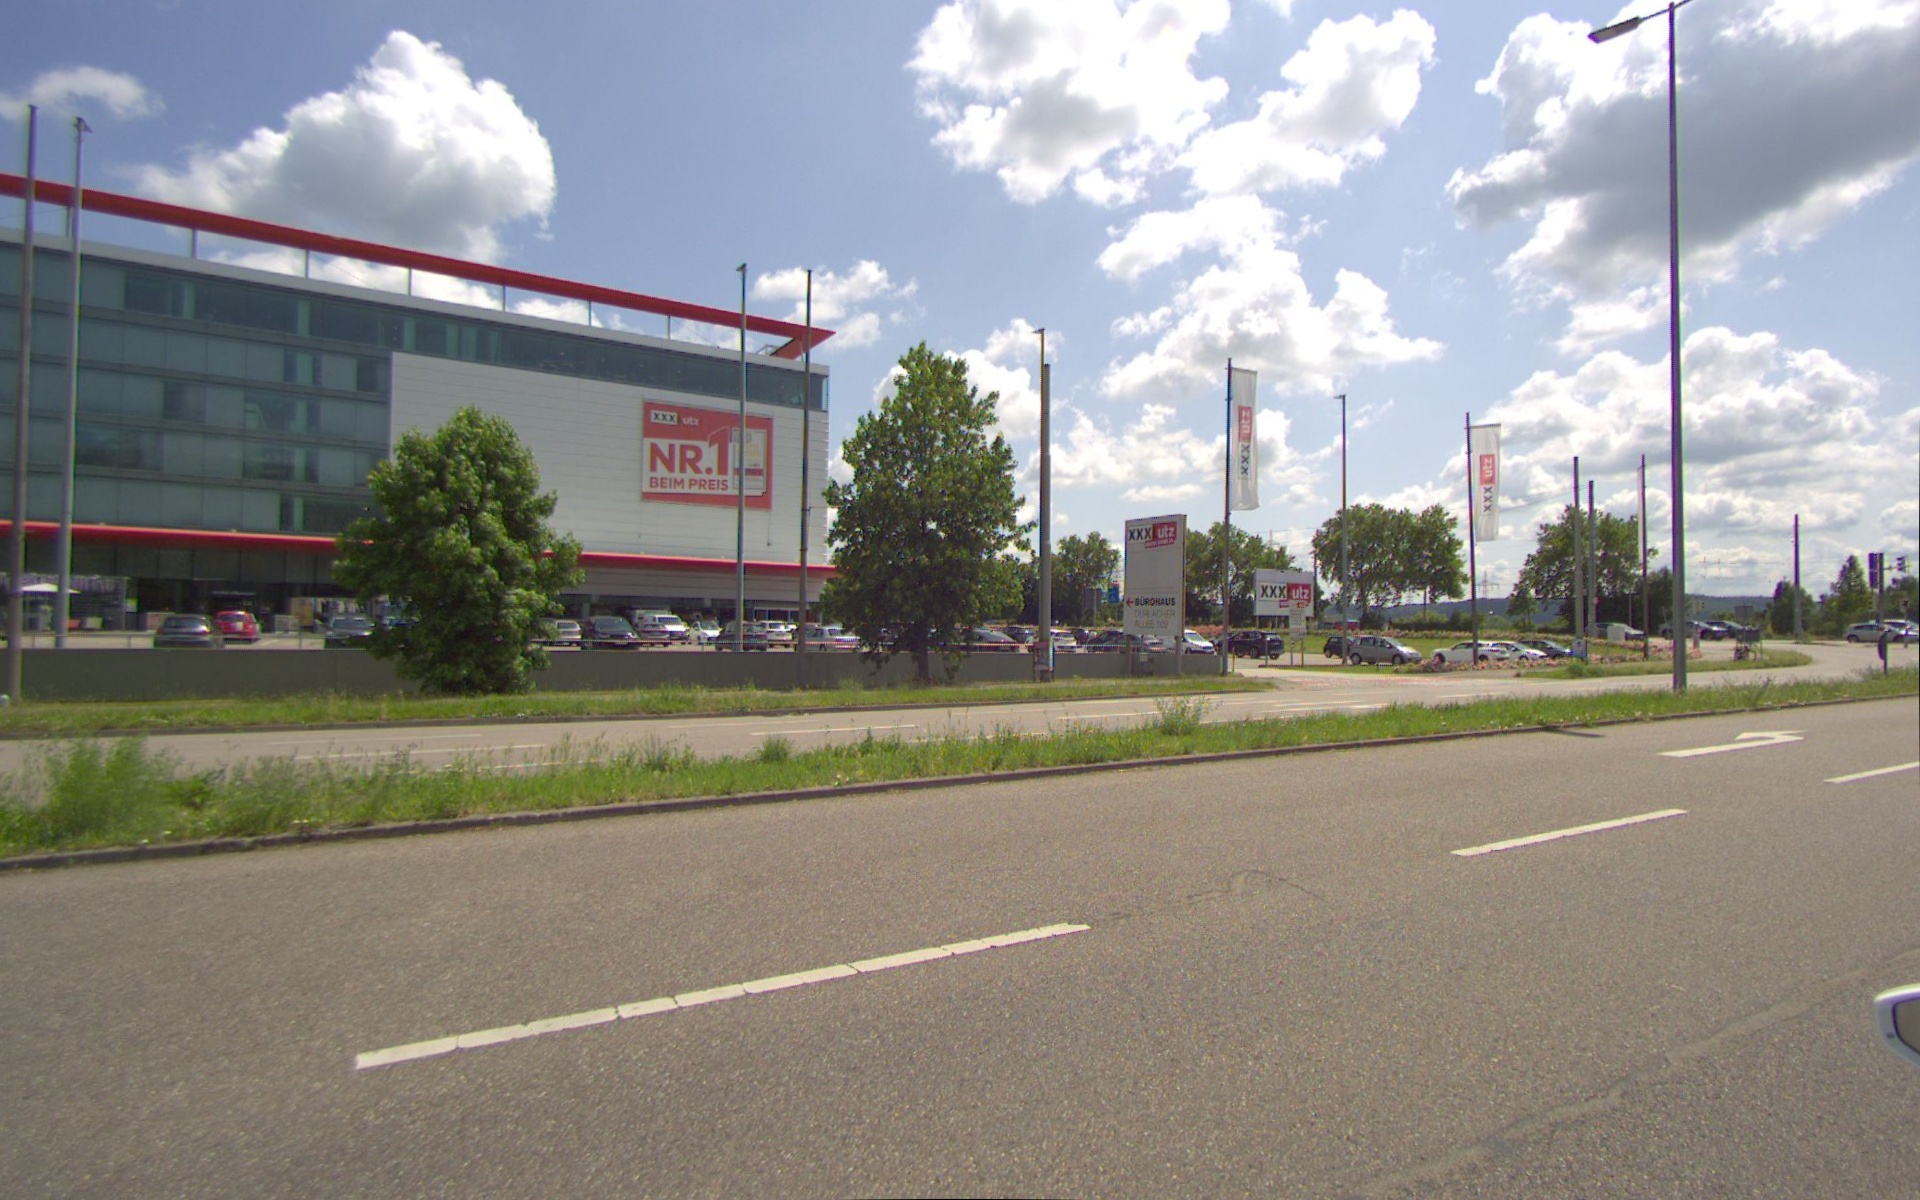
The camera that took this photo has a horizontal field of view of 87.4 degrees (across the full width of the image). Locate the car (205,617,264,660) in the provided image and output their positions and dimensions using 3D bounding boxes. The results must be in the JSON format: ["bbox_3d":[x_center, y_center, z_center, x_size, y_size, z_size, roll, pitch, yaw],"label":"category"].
[{"bbox_3d":[-35.678,1.897,49.475,1.978,2.015,4.326,1,-3,-32],"label":"car"}]

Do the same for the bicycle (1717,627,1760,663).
[{"bbox_3d":[38.292,2.208,49.395,2.025,1.697,1.012,1,-2,-32],"label":"bicycle"}]

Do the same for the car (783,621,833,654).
[{"bbox_3d":[-9.799,2.381,64.478,1.757,2.040,3.966,1,-2,-32],"label":"car"}]

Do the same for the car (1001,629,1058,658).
[{"bbox_3d":[4.998,3.152,72.926,1.978,2.015,4.326,1,-3,-32],"label":"car"}]

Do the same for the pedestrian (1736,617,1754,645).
[{"bbox_3d":[53.733,2.098,68.749,0.784,1.862,0.866,2,0,30],"label":"pedestrian"}]

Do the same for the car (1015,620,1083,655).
[{"bbox_3d":[5.470,2.324,62.248,1.978,2.015,4.326,3,-3,-32],"label":"car"}]

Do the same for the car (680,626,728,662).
[{"bbox_3d":[-17.020,2.915,66.606,1.849,2.336,4.532,1,-3,-32],"label":"car"}]

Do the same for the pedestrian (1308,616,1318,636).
[{"bbox_3d":[35.741,2.655,101.737,0.761,2.040,0.566,0,-2,-11],"label":"pedestrian"}]

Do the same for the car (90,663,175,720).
[{"bbox_3d":[-32.817,3.579,39.964,1.978,2.015,4.326,1,-3,-32],"label":"car"}]

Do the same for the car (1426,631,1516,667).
[{"bbox_3d":[30.047,2.847,59.161,1.978,2.015,4.326,1,-3,-32],"label":"car"}]

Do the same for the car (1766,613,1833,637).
[{"bbox_3d":[74.155,2.262,88.780,1.984,2.015,4.312,2,-3,-40],"label":"car"}]

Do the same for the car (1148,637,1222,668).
[{"bbox_3d":[13.877,3.239,62.155,1.978,1.863,4.326,1,-3,-32],"label":"car"}]

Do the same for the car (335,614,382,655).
[{"bbox_3d":[-30.769,1.767,51.358,1.978,2.015,4.326,1,-3,-32],"label":"car"}]

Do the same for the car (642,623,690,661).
[{"bbox_3d":[-19.064,2.709,65.056,1.849,2.336,4.532,1,-3,-32],"label":"car"}]

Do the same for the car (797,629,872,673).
[{"bbox_3d":[-6.138,2.461,48.682,1.978,2.015,4.326,1,-3,-32],"label":"car"}]

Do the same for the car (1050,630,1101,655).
[{"bbox_3d":[9.546,3.518,83.203,1.978,2.015,4.326,1,-3,-32],"label":"car"}]

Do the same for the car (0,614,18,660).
[{"bbox_3d":[-42.767,1.596,43.533,1.978,2.015,4.326,1,-3,-32],"label":"car"}]

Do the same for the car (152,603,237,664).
[{"bbox_3d":[-27.275,1.191,35.924,1.978,2.015,4.326,0,-2,-32],"label":"car"}]

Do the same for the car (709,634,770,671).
[{"bbox_3d":[-11.475,2.707,52.158,1.758,1.854,4.326,1,-3,-32],"label":"car"}]

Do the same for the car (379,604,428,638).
[{"bbox_3d":[-31.864,1.224,57.475,2.175,1.802,5.089,1,-3,-32],"label":"car"}]

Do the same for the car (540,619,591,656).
[{"bbox_3d":[-22.350,2.107,56.813,1.978,2.015,4.326,1,-3,-32],"label":"car"}]

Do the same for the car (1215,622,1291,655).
[{"bbox_3d":[18.693,2.421,64.285,1.978,2.015,4.558,2,-2,-32],"label":"car"}]

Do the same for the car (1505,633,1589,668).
[{"bbox_3d":[35.385,3.037,60.620,1.985,2.040,3.952,2,-3,-42],"label":"car"}]

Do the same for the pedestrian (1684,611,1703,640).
[{"bbox_3d":[47.840,1.665,65.523,0.852,1.862,0.796,2,0,30],"label":"pedestrian"}]

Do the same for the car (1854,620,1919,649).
[{"bbox_3d":[67.928,2.506,72.752,1.978,2.015,4.326,1,-3,-32],"label":"car"}]

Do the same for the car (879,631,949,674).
[{"bbox_3d":[-2.407,2.657,51.548,1.823,2.015,4.049,2,-1,-32],"label":"car"}]

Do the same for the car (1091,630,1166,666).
[{"bbox_3d":[9.805,2.771,58.604,1.978,2.015,4.326,1,-3,-32],"label":"car"}]

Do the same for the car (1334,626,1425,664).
[{"bbox_3d":[23.267,2.504,55.868,1.978,2.015,4.326,1,-3,-32],"label":"car"}]

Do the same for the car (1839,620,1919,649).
[{"bbox_3d":[65.701,2.485,71.454,1.978,2.015,4.326,1,-3,-32],"label":"car"}]

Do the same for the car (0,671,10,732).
[{"bbox_3d":[-32.606,3.375,32.446,1.978,2.040,3.967,1,-3,-31],"label":"car"}]

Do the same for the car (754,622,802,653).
[{"bbox_3d":[-12.564,2.567,69.038,1.978,2.040,3.966,1,-2,-32],"label":"car"}]

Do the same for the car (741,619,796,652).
[{"bbox_3d":[-12.060,2.255,63.019,1.978,2.015,4.326,2,-3,-32],"label":"car"}]

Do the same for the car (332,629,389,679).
[{"bbox_3d":[-25.895,2.304,43.360,1.969,2.069,4.264,1,-3,-32],"label":"car"}]

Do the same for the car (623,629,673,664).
[{"bbox_3d":[-18.471,2.747,59.356,1.977,2.015,4.329,1,-3,-30],"label":"car"}]

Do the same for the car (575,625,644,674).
[{"bbox_3d":[-15.348,2.149,43.828,1.978,2.015,4.326,1,-3,-32],"label":"car"}]

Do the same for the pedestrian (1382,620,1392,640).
[{"bbox_3d":[38.729,2.695,91.169,0.588,1.834,0.532,0,-2,-21],"label":"pedestrian"}]

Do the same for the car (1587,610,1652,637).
[{"bbox_3d":[51.885,1.895,79.132,1.967,2.040,3.989,0,-2,-15],"label":"car"}]
